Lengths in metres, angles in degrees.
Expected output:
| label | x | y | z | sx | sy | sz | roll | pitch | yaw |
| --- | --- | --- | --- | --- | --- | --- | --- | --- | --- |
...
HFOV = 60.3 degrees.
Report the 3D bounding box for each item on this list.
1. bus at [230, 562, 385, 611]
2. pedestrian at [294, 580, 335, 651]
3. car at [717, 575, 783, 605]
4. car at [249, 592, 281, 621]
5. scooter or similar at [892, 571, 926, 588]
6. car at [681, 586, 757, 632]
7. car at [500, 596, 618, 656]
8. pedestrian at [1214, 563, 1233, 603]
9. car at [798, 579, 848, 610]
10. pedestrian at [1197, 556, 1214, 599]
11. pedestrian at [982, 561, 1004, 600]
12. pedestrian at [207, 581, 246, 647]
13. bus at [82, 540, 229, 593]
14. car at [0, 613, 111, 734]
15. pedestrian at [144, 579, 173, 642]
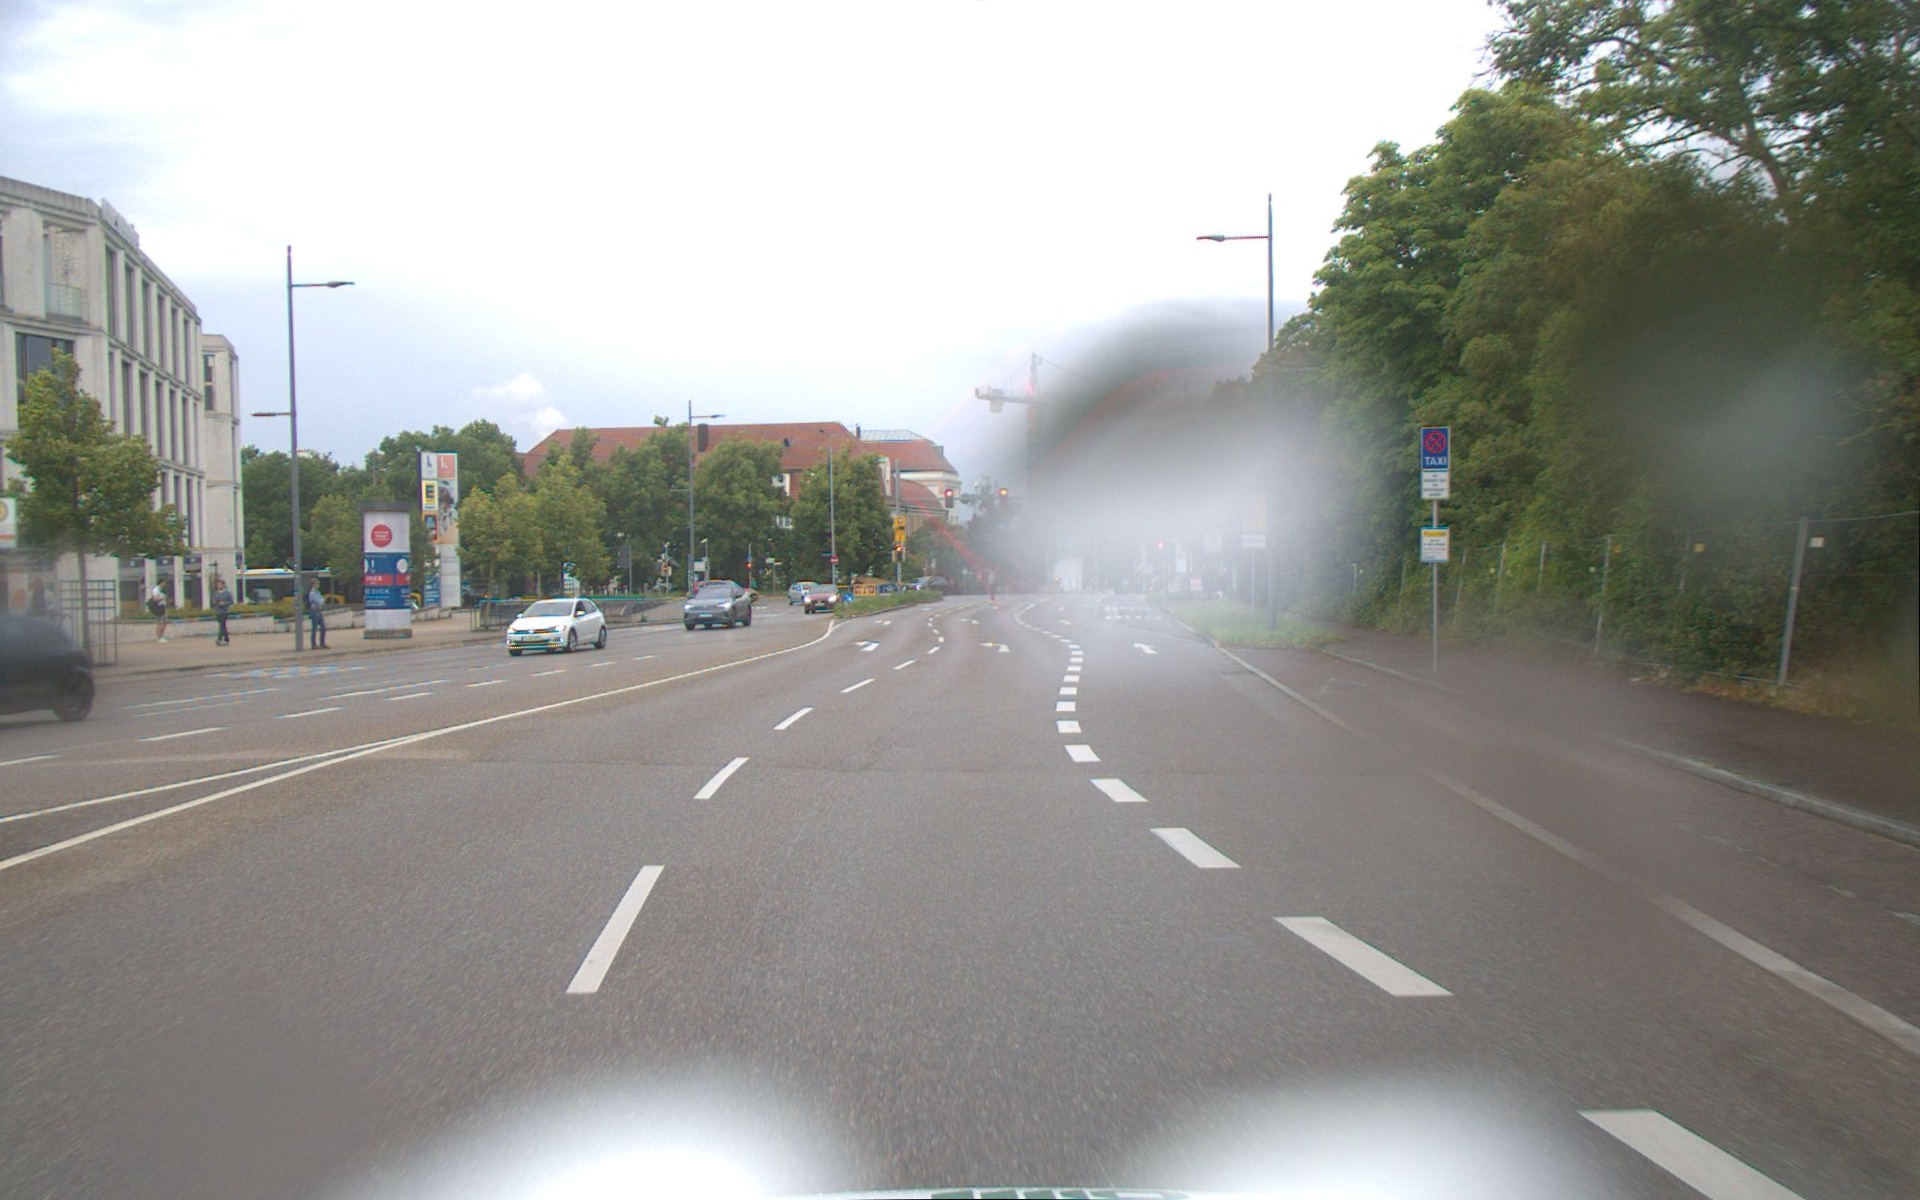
| label | x | y | z | sx | sy | sz | roll | pitch | yaw |
| --- | --- | --- | --- | --- | --- | --- | --- | --- | --- |
| bus | -44.627 | -0.928 | 113.263 | 9.518 | 3.157 | 2.900 | -1 | 1 | 6 |
| pedestrian | -17.204 | 0.415 | 44.103 | 0.737 | 1.874 | 0.747 | -1 | 0 | 7 |
| car | -13.852 | -0.653 | 109.076 | 3.910 | 1.950 | 1.998 | -1 | 0 | 27 |
| car | -43.654 | 0.397 | 103.932 | 1.749 | 1.761 | 3.972 | -1 | 1 | -23 |
| scooter or similar | -4.666 | -1.861 | 150.454 | 3.023 | 1.465 | 0.949 | -1 | 0 | 3 |
| car | -9.131 | 0.330 | 63.072 | 1.793 | 1.599 | 4.596 | -3 | 0 | 5 |
| car | -10.846 | 0.660 | 45.037 | 1.834 | 1.454 | 4.178 | -3 | 0 | 5 |
| pedestrian | 11.421 | -0.747 | 71.775 | 0.662 | 1.686 | 0.793 | -1 | 1 | -1 |
| car | -7.141 | -0.288 | 86.621 | 1.793 | 1.441 | 4.468 | -3 | 1 | 5 |
| pedestrian | 11.340 | -1.042 | 76.365 | 0.627 | 1.934 | 0.718 | -1 | 1 | -1 |
| pedestrian | 1.782 | -1.071 | 89.674 | 0.920 | 2.048 | 0.848 | -4 | 0 | 10 |
| pedestrian | -20.223 | 0.389 | 45.603 | 0.585 | 1.793 | 0.858 | -1 | 0 | 7 |
| bus | -54.447 | -2.257 | 112.091 | 8.386 | 3.365 | 2.893 | -1 | 1 | -8 |
| car | -12.838 | 0.956 | 21.051 | 1.807 | 1.488 | 3.869 | -2 | 0 | 5 |
| pedestrian | -22.345 | 0.279 | 46.094 | 0.488 | 1.719 | 0.913 | -1 | 0 | -12 |
